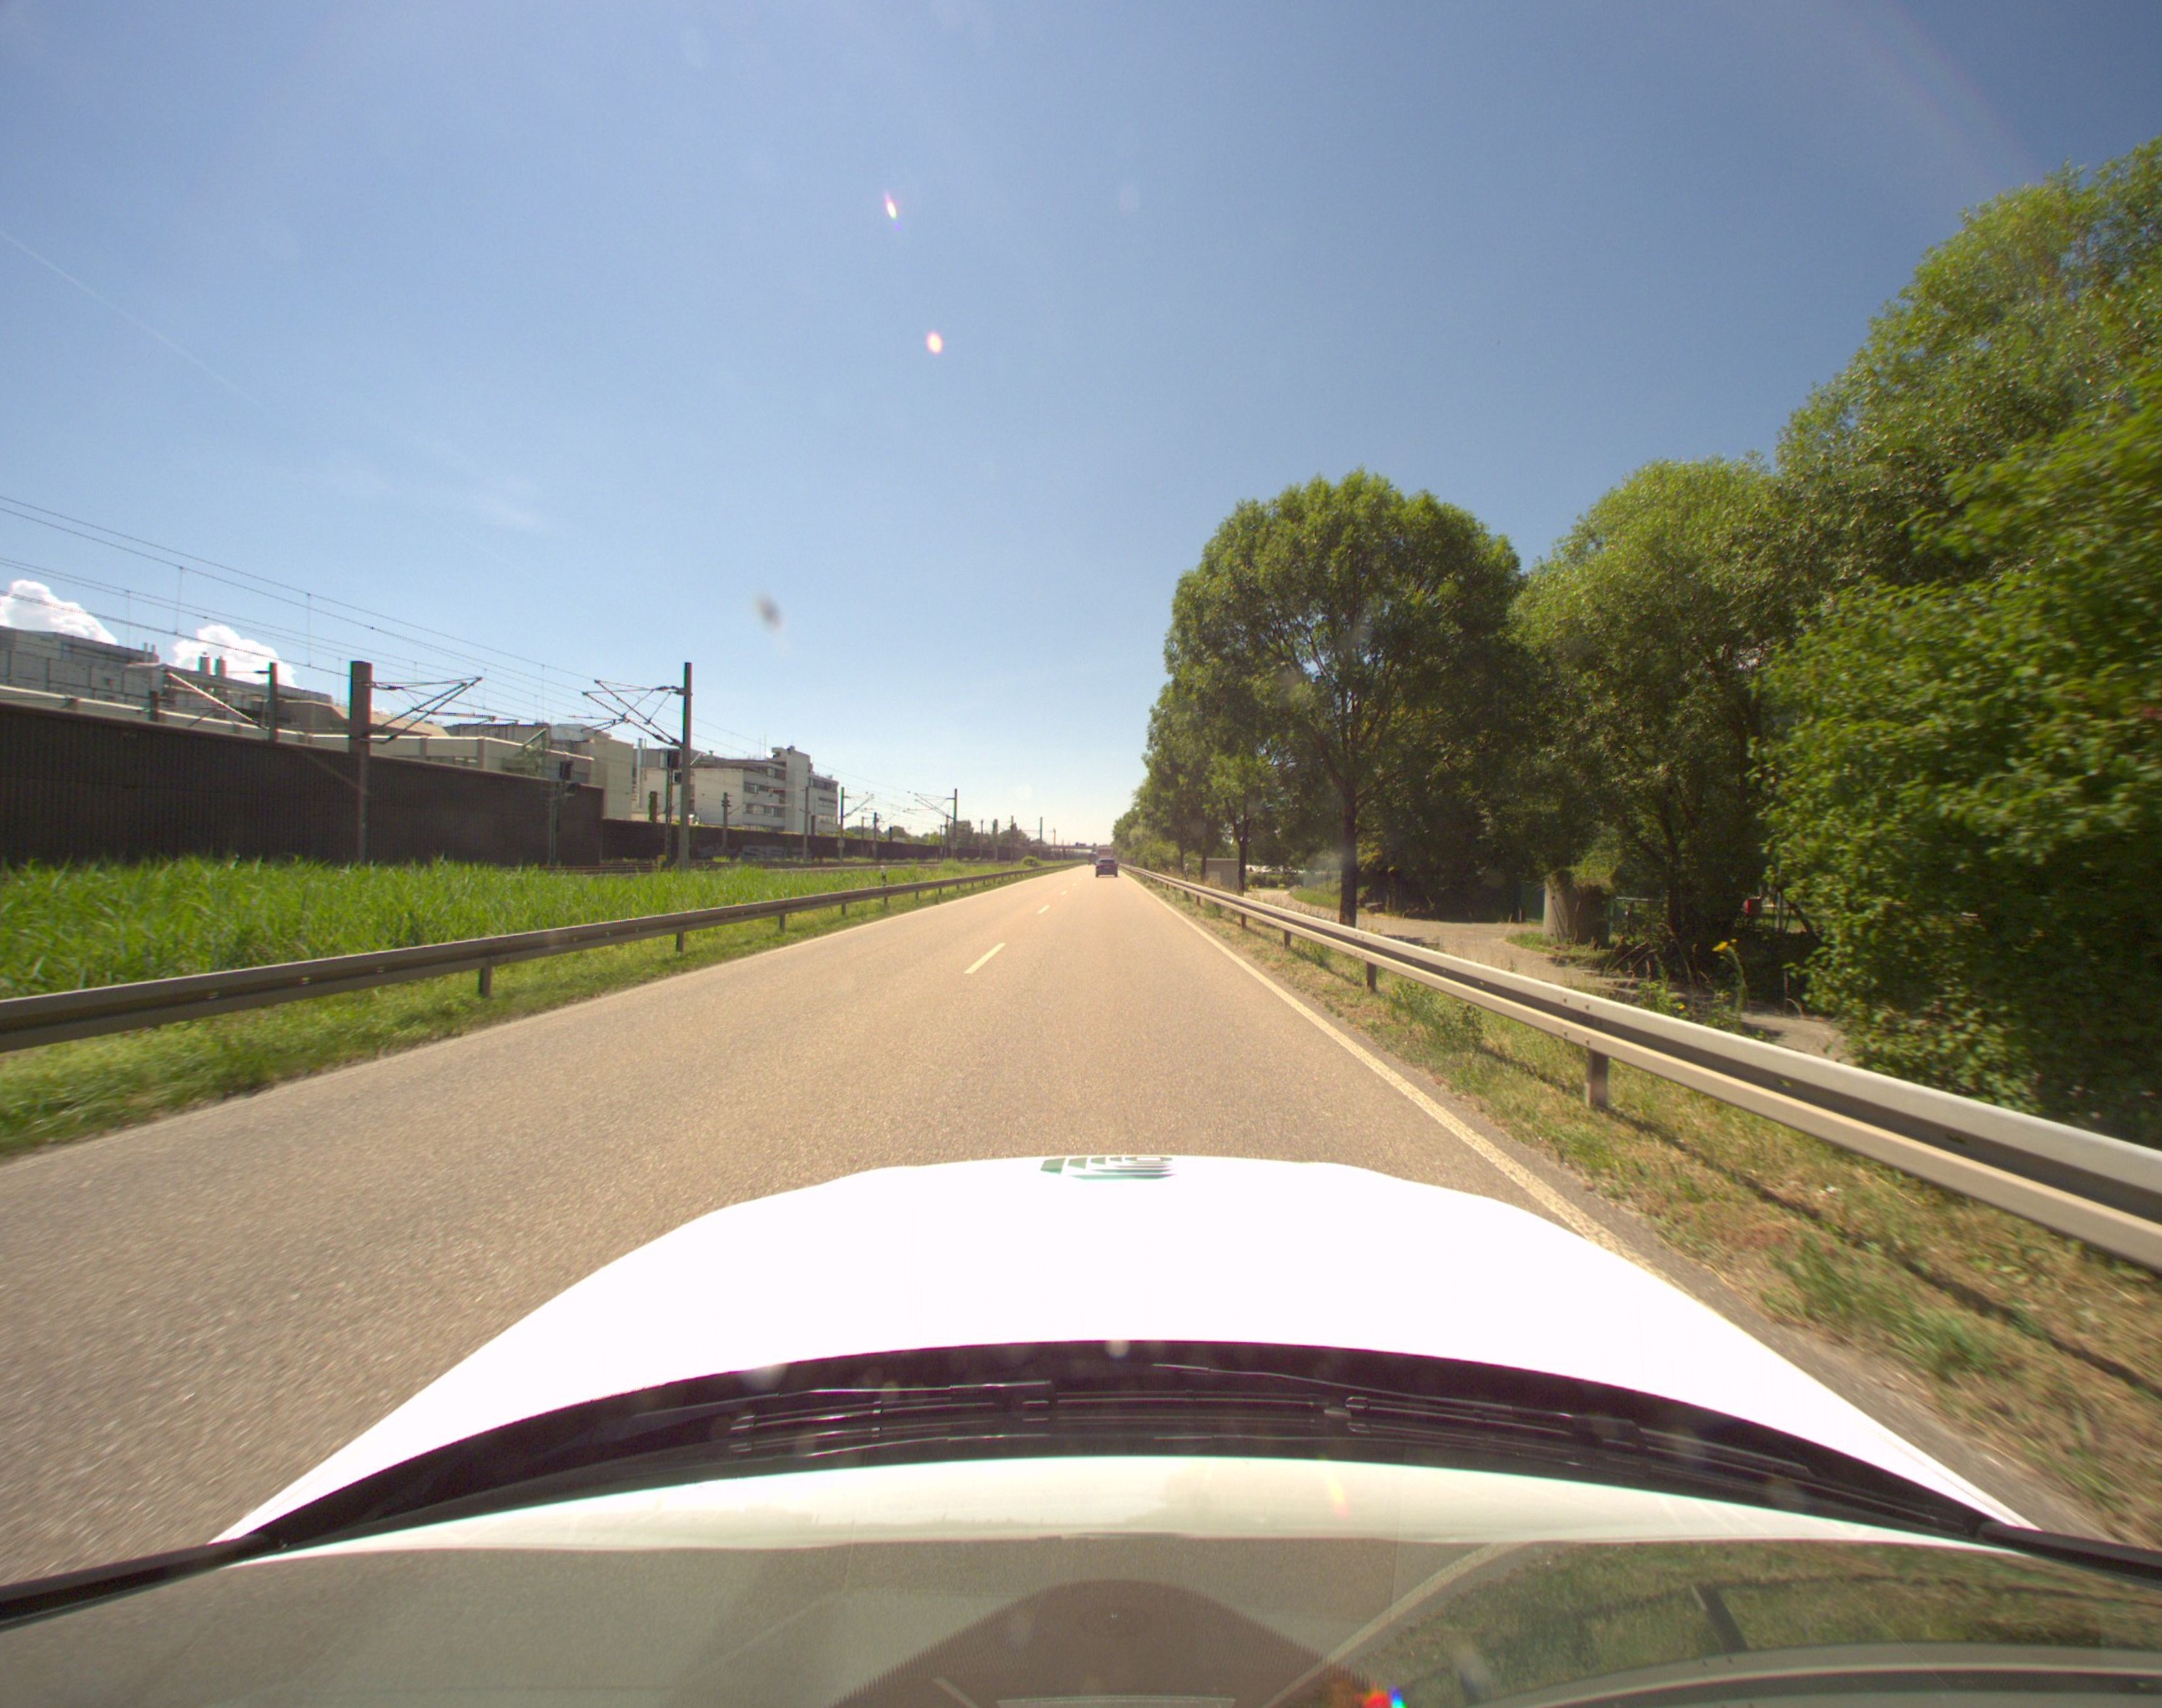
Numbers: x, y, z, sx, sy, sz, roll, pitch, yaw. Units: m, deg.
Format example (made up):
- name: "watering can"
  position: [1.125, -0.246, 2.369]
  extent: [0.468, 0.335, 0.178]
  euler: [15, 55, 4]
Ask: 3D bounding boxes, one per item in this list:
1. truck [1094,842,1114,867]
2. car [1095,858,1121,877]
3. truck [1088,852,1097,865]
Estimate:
- name: "truck"
  position: [3.411, 0.132, 119.241]
  extent: [2.760, 3.425, 10.823]
  euler: [0, 0, 2]
- name: "car"
  position: [2.226, 1.124, 67.336]
  extent: [1.987, 1.508, 3.999]
  euler: [-1, 0, -1]
- name: "truck"
  position: [3.337, 1.374, 235.240]
  extent: [2.649, 3.627, 10.978]
  euler: [0, 0, 1]
